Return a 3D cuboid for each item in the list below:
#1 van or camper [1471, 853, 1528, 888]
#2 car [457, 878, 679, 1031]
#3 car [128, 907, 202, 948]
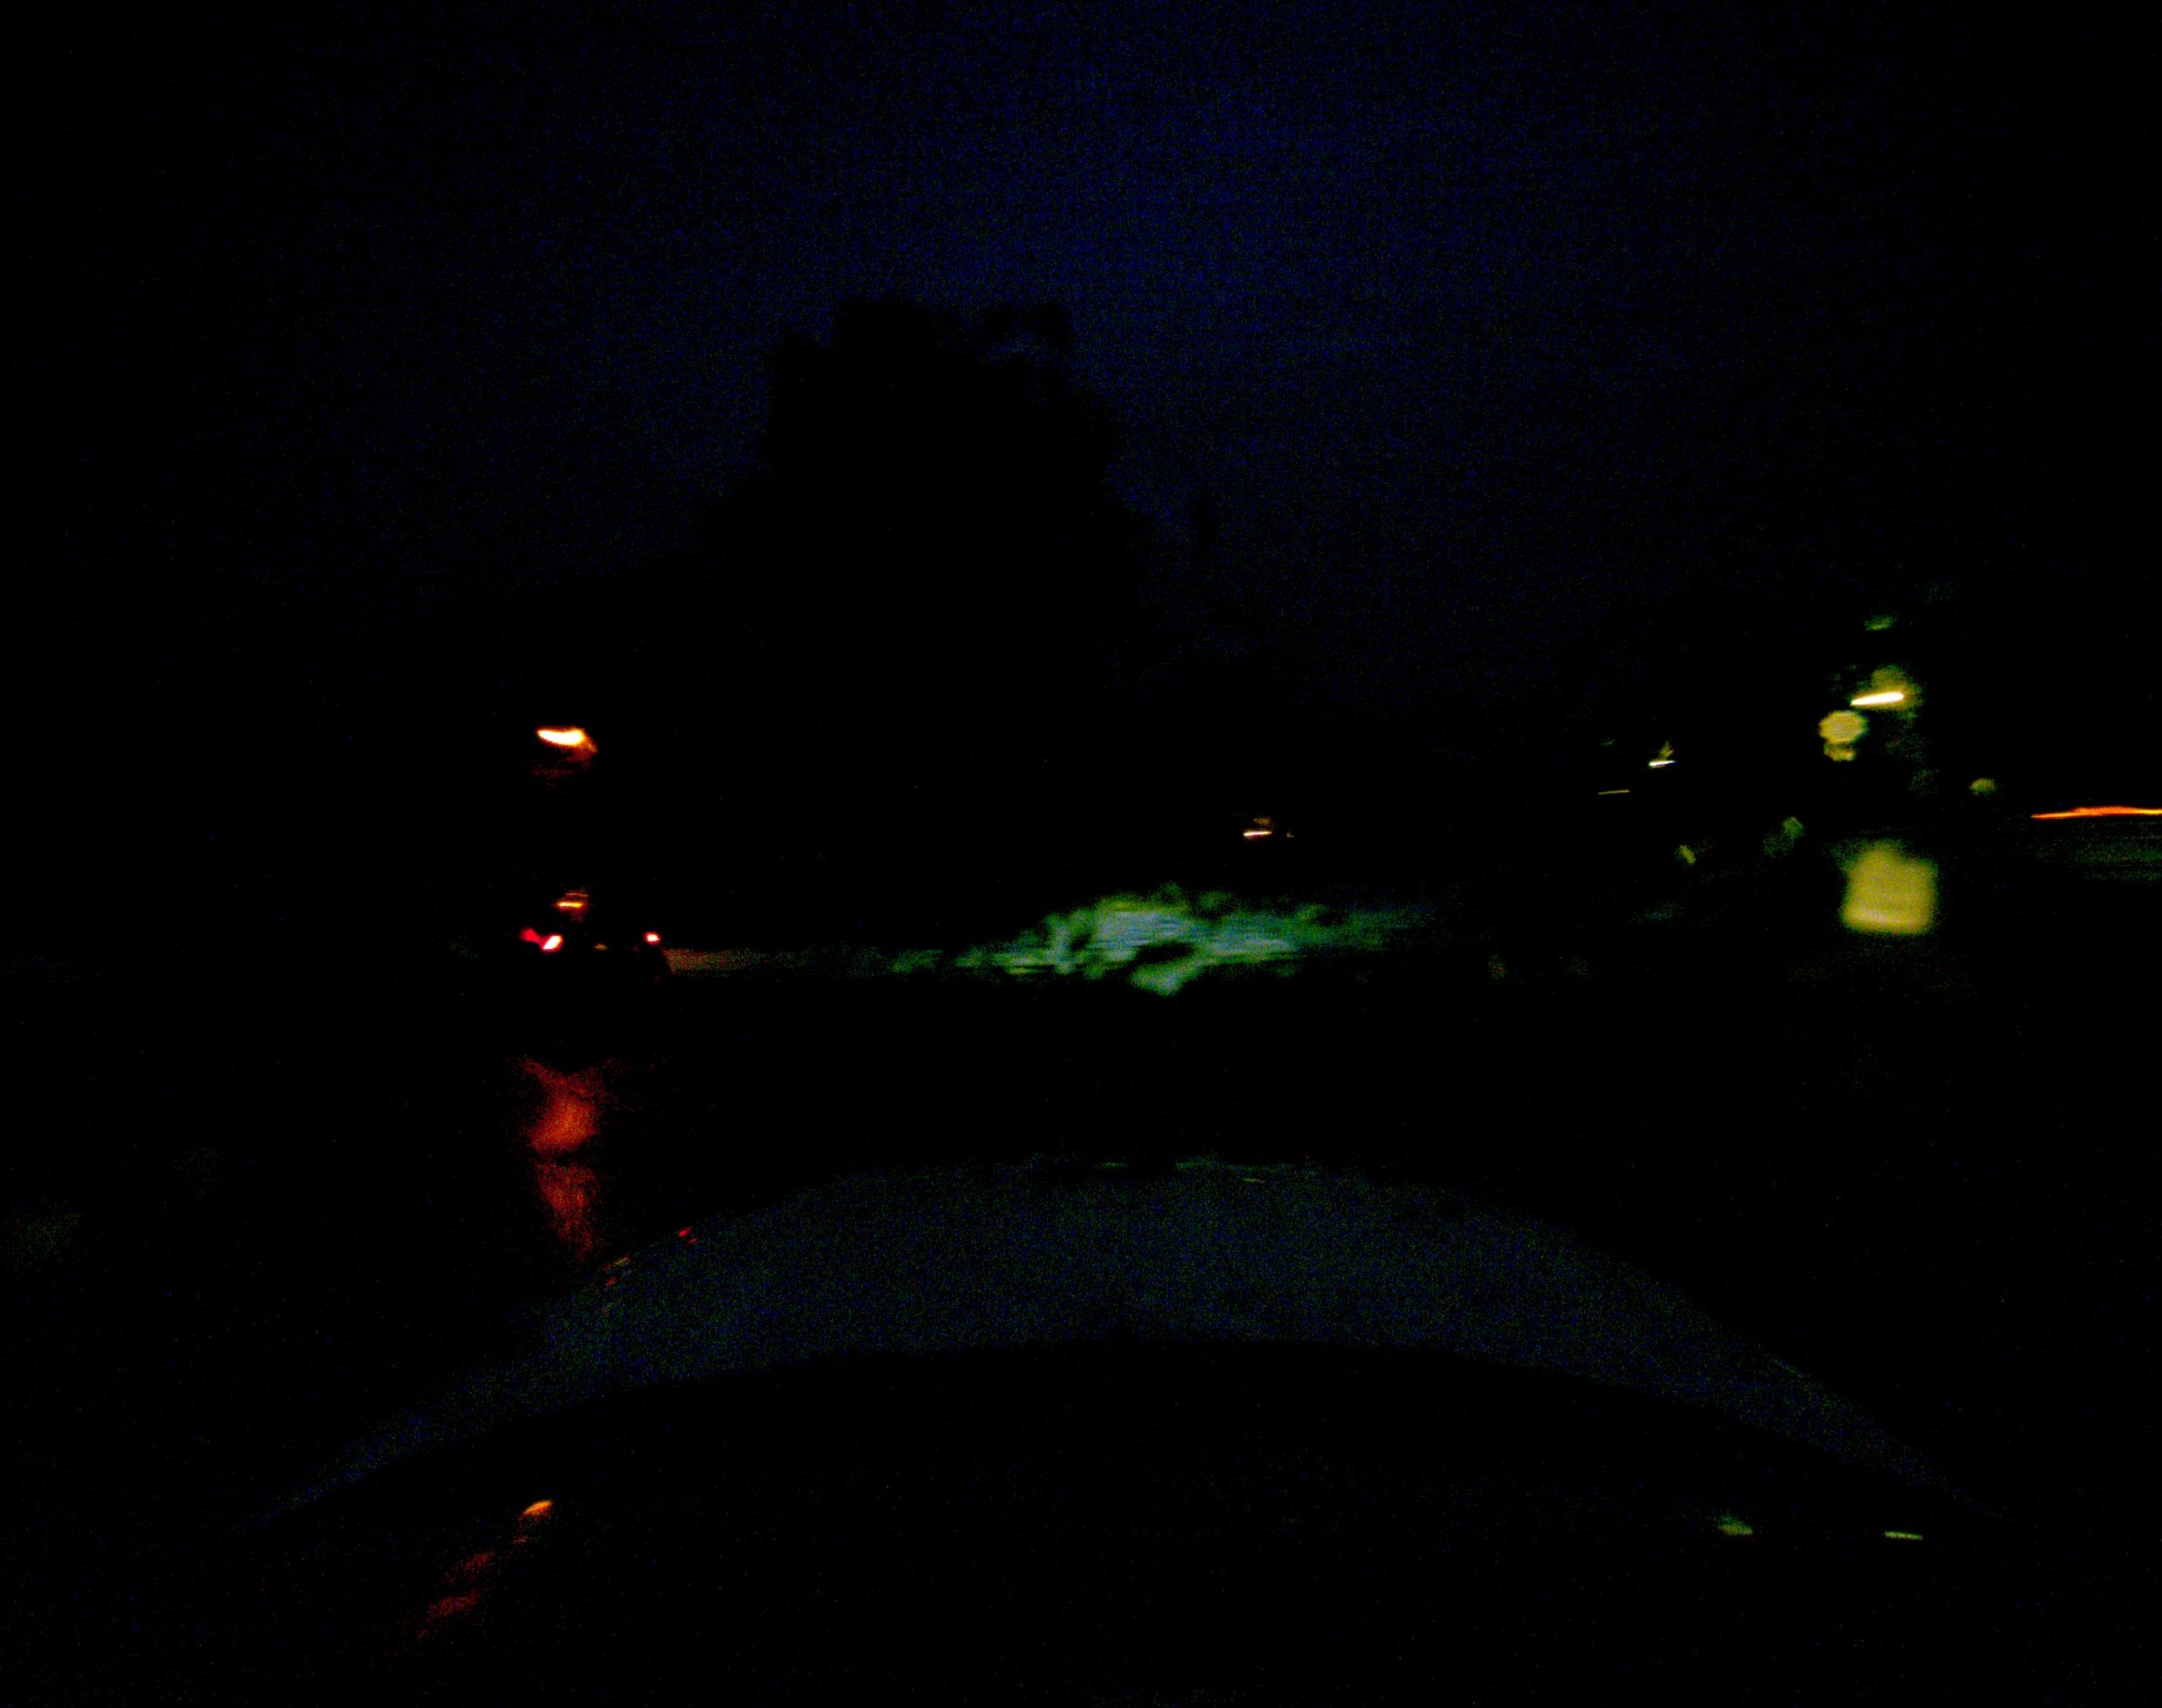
[{"bbox_3d":[14.142,0.560,27.634,1.272,1.101,3.288,1,-1,19],"label":"van or camper"},{"bbox_3d":[-7.433,1.284,11.681,3.532,1.797,1.839,-3,-2,43],"label":"car"},{"bbox_3d":[-38.846,3.071,34.610,1.733,1.534,3.473,3,-3,-43],"label":"car"}]
